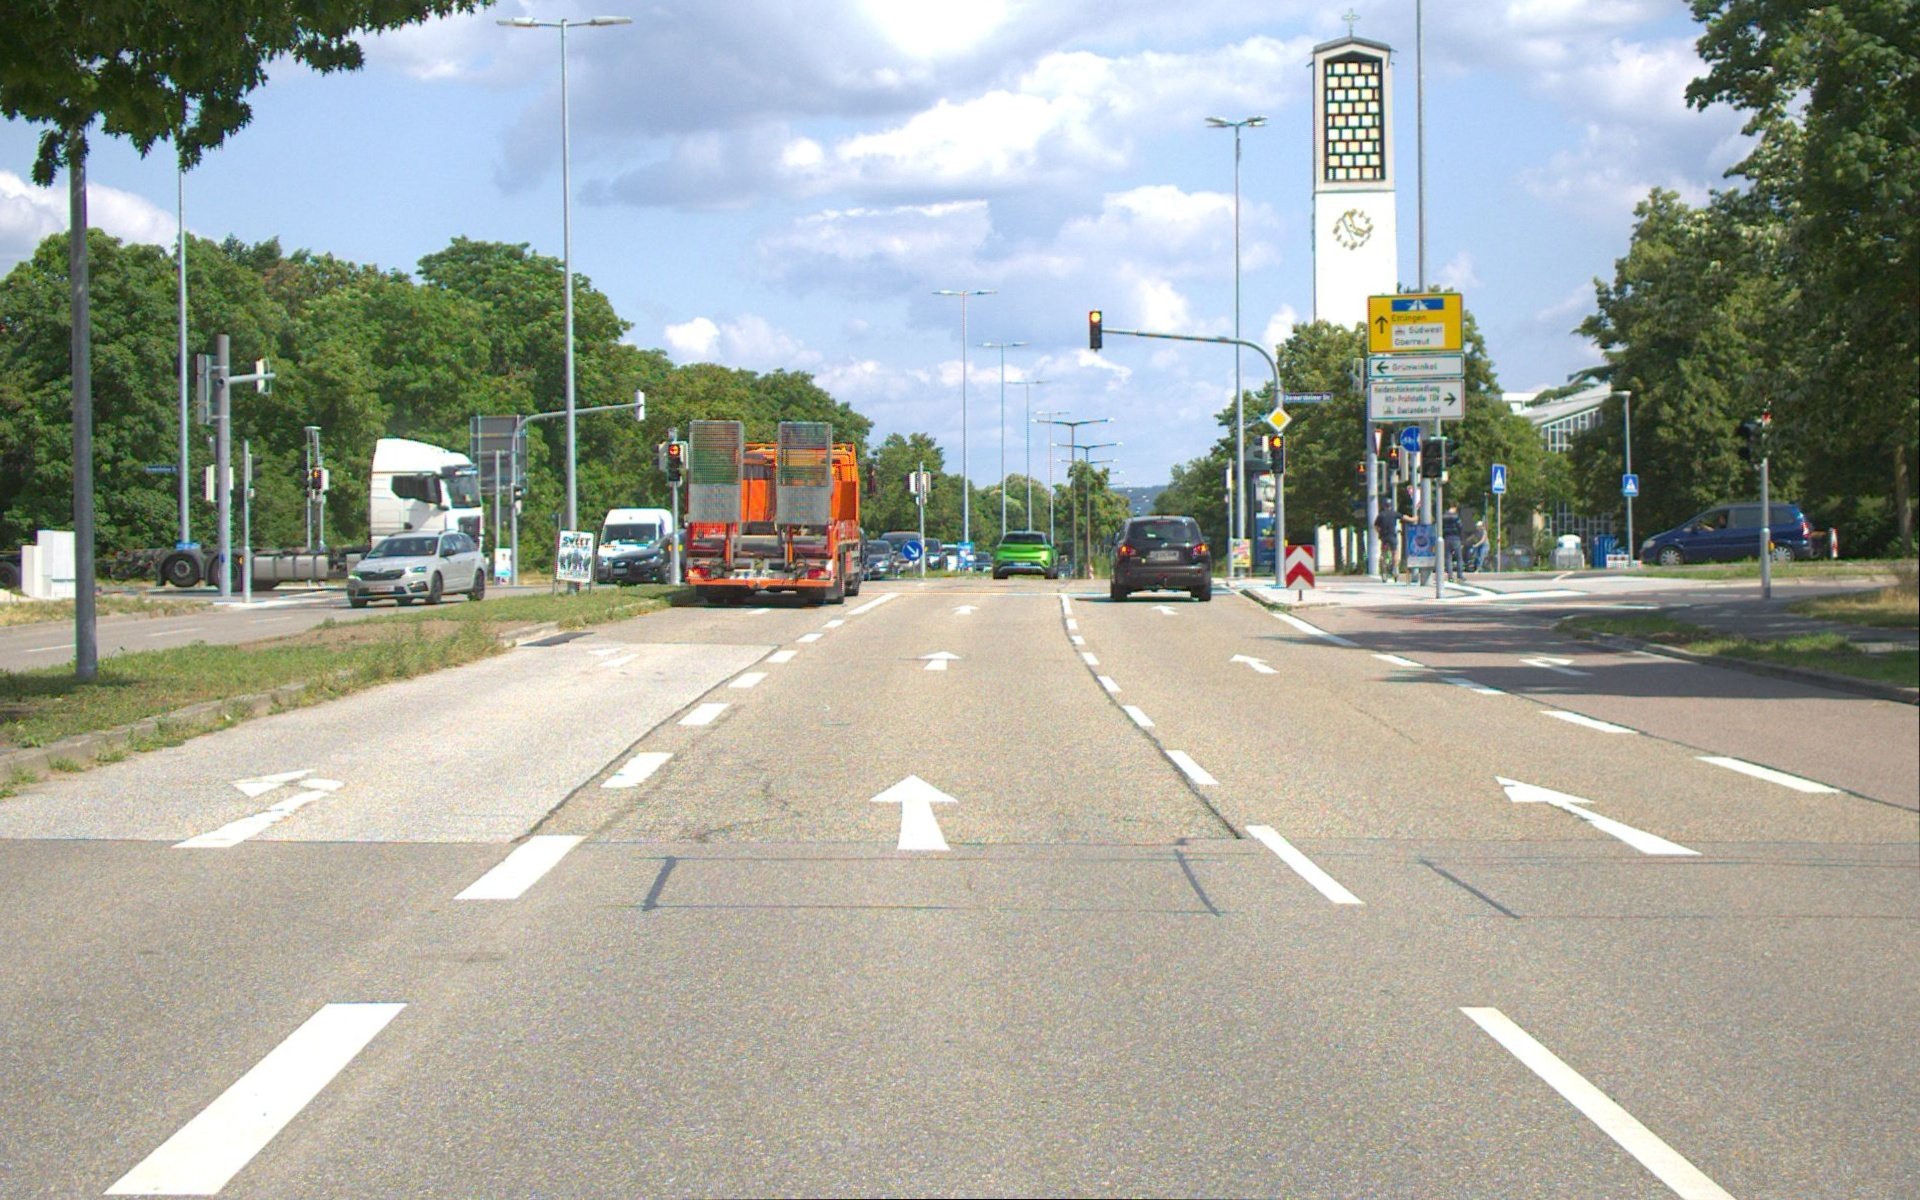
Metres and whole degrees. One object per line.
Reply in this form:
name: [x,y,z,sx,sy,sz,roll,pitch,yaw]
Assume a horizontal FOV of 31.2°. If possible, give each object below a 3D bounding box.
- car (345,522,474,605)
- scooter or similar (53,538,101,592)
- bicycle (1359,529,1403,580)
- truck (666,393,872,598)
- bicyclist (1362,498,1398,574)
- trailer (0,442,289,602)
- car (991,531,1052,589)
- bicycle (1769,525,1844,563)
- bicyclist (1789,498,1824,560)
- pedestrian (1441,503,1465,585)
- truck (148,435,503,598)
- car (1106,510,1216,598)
car: [-11.071,-0.728,69.412,1.732,1.503,4.653,-4,0,0]
scooter or similar: [-19.356,-0.762,75.379,0.589,1.159,1.762,1,0,0]
bicycle: [9.369,-1.004,76.511,0.648,1.104,1.926,2,0,16]
truck: [-3.384,-1.810,63.893,3.071,3.402,11.068,1,0,0]
bicyclist: [9.326,-1.414,76.321,0.648,1.655,0.649,2,0,16]
trailer: [-23.969,-1.999,91.967,11.289,3.998,3.630,-1,0,14]
car: [1.831,-1.204,103.181,1.740,1.664,3.590,1,0,0]
bicycle: [24.684,-1.634,100.241,2.001,1.090,0.684,0,1,36]
bicyclist: [24.681,-2.074,100.236,0.788,1.798,0.684,0,1,36]
pedestrian: [10.850,-1.228,75.665,0.465,1.772,0.482,1,0,12]
truck: [-16.625,-2.153,90.200,8.615,3.957,2.967,-1,0,14]
car: [3.725,-0.845,64.242,1.799,1.547,4.000,1,0,0]
